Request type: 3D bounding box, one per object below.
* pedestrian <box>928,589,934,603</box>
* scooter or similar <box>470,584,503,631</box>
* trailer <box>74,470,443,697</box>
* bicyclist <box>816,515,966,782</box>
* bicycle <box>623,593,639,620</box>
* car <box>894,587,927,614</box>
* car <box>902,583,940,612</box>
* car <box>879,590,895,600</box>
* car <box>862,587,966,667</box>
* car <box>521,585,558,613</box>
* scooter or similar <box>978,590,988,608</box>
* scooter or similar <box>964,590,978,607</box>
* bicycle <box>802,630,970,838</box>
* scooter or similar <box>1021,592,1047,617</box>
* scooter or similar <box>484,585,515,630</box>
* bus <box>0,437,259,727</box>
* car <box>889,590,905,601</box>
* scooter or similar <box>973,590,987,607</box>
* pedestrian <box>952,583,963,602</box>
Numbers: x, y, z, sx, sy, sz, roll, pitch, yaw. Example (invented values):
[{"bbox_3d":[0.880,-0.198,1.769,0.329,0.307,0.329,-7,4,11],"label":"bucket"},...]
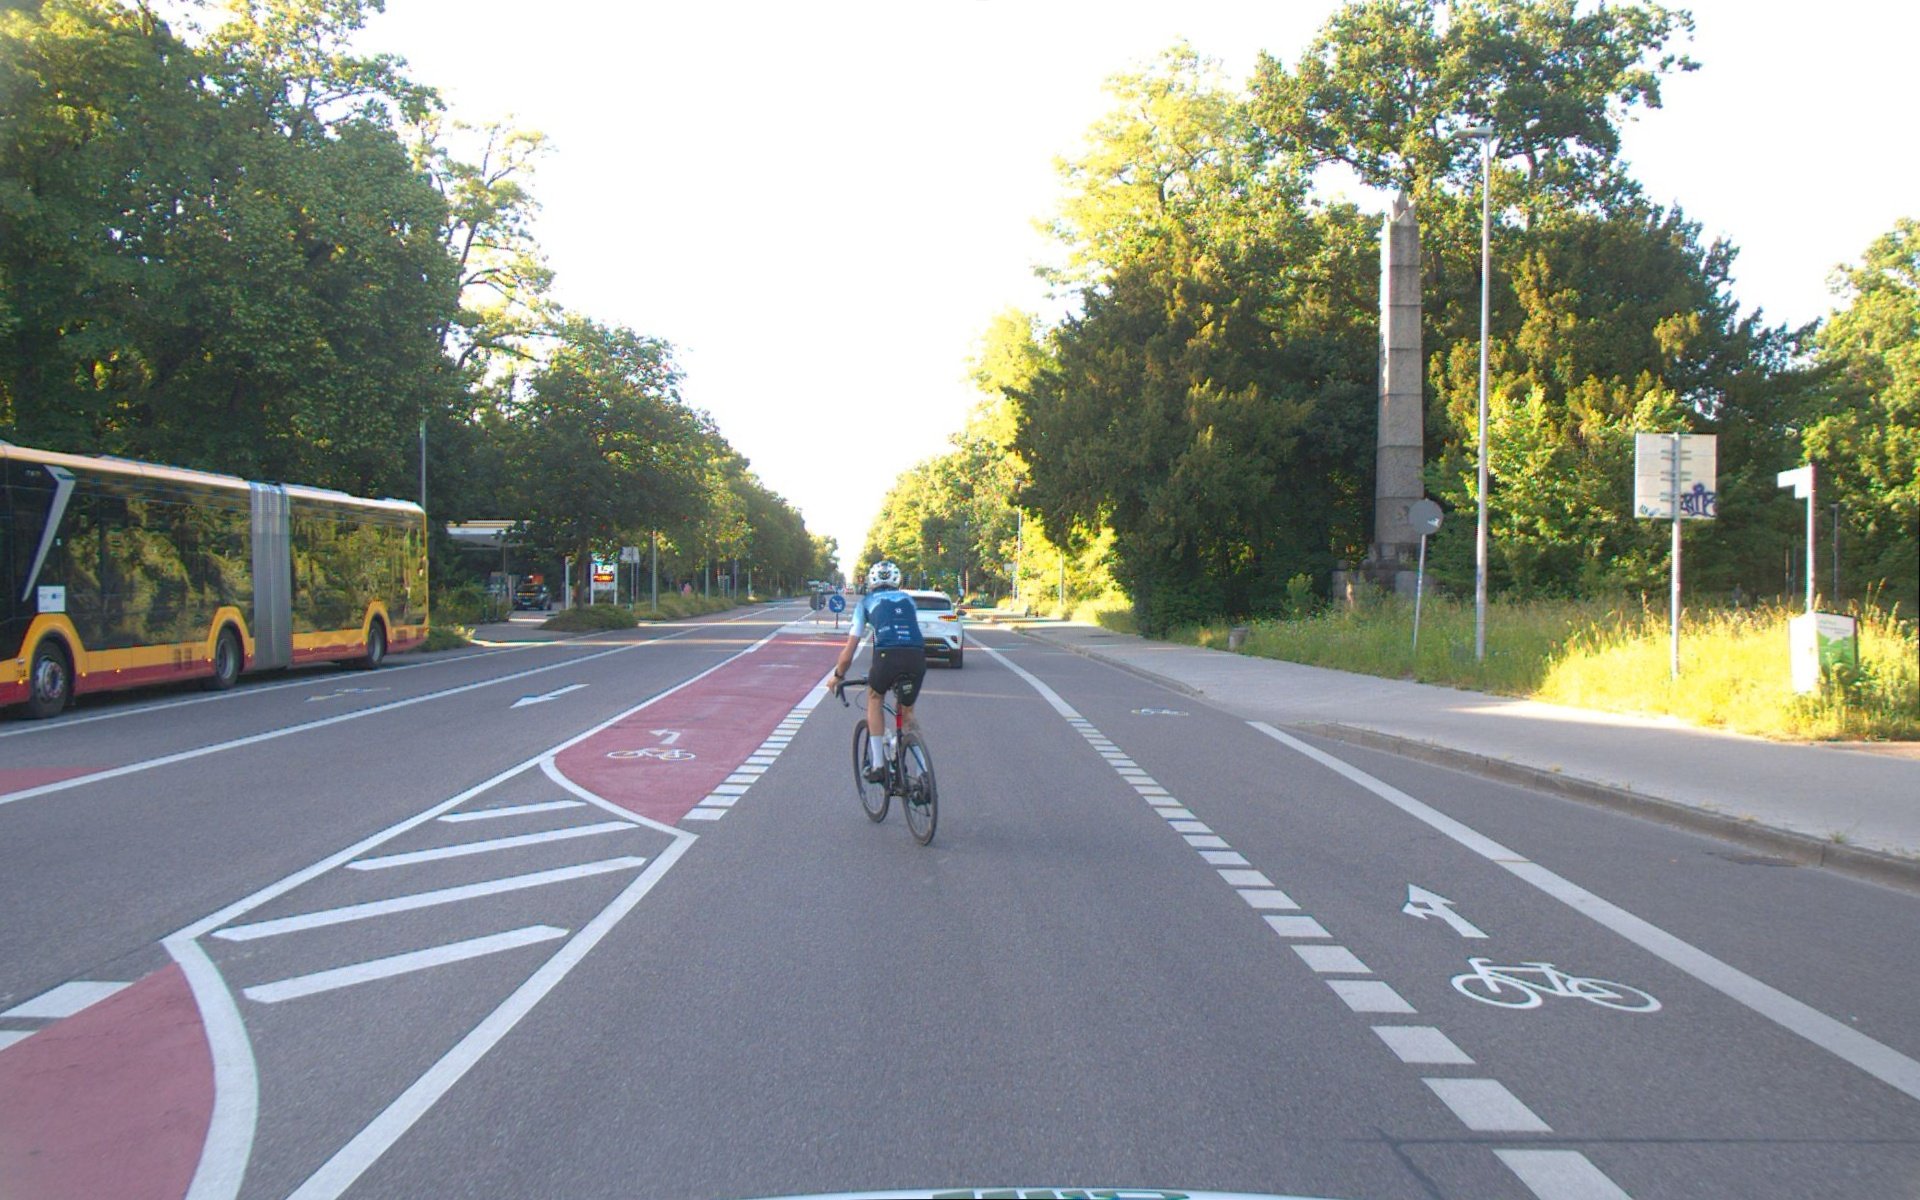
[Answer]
[{"bbox_3d":[-3.442,-0.432,196.400,0.684,1.682,0.875,0,0,-4],"label":"pedestrian"},{"bbox_3d":[-18.138,0.273,63.392,0.811,1.747,1.740,0,0,-2],"label":"scooter or similar"},{"bbox_3d":[-12.347,-0.258,30.353,2.797,3.414,9.360,2,0,-1],"label":"trailer"},{"bbox_3d":[-0.415,0.291,10.460,0.842,1.594,0.881,2,0,2],"label":"bicyclist"},{"bbox_3d":[-15.773,0.305,79.305,0.642,1.272,2.155,0,0,-8],"label":"bicycle"},{"bbox_3d":[-2.668,0.012,90.091,1.642,1.442,3.574,0,0,0],"label":"car"},{"bbox_3d":[-2.149,-0.154,90.049,1.954,1.545,3.998,0,0,-3],"label":"car"},{"bbox_3d":[-10.178,-0.705,229.426,1.956,1.350,3.994,0,0,-7],"label":"car"},{"bbox_3d":[-0.988,0.500,33.522,1.728,1.485,3.812,1,0,-7],"label":"car"},{"bbox_3d":[-26.184,-0.065,103.057,1.678,1.721,4.446,0,0,-7],"label":"car"},{"bbox_3d":[1.798,-0.098,131.919,0.668,1.448,1.680,0,0,-4],"label":"scooter or similar"},{"bbox_3d":[0.908,-0.151,139.577,0.671,1.448,1.673,0,0,-19],"label":"scooter or similar"},{"bbox_3d":[-0.421,0.790,10.577,0.872,1.114,2.137,2,0,2],"label":"bicycle"},{"bbox_3d":[3.968,0.235,88.377,0.525,1.272,1.531,0,0,43],"label":"scooter or similar"},{"bbox_3d":[-18.181,0.272,65.335,0.811,1.747,1.740,0,0,-2],"label":"scooter or similar"},{"bbox_3d":[-12.218,-0.220,21.416,2.783,3.252,8.597,0,0,-1],"label":"bus"},{"bbox_3d":[-8.215,-0.598,213.831,1.954,1.350,3.997,0,0,-4],"label":"car"},{"bbox_3d":[1.637,-0.129,135.866,0.671,1.448,1.674,0,0,-17],"label":"scooter or similar"},{"bbox_3d":[-0.194,-0.593,139.226,0.742,1.591,0.800,0,0,-13],"label":"pedestrian"}]
